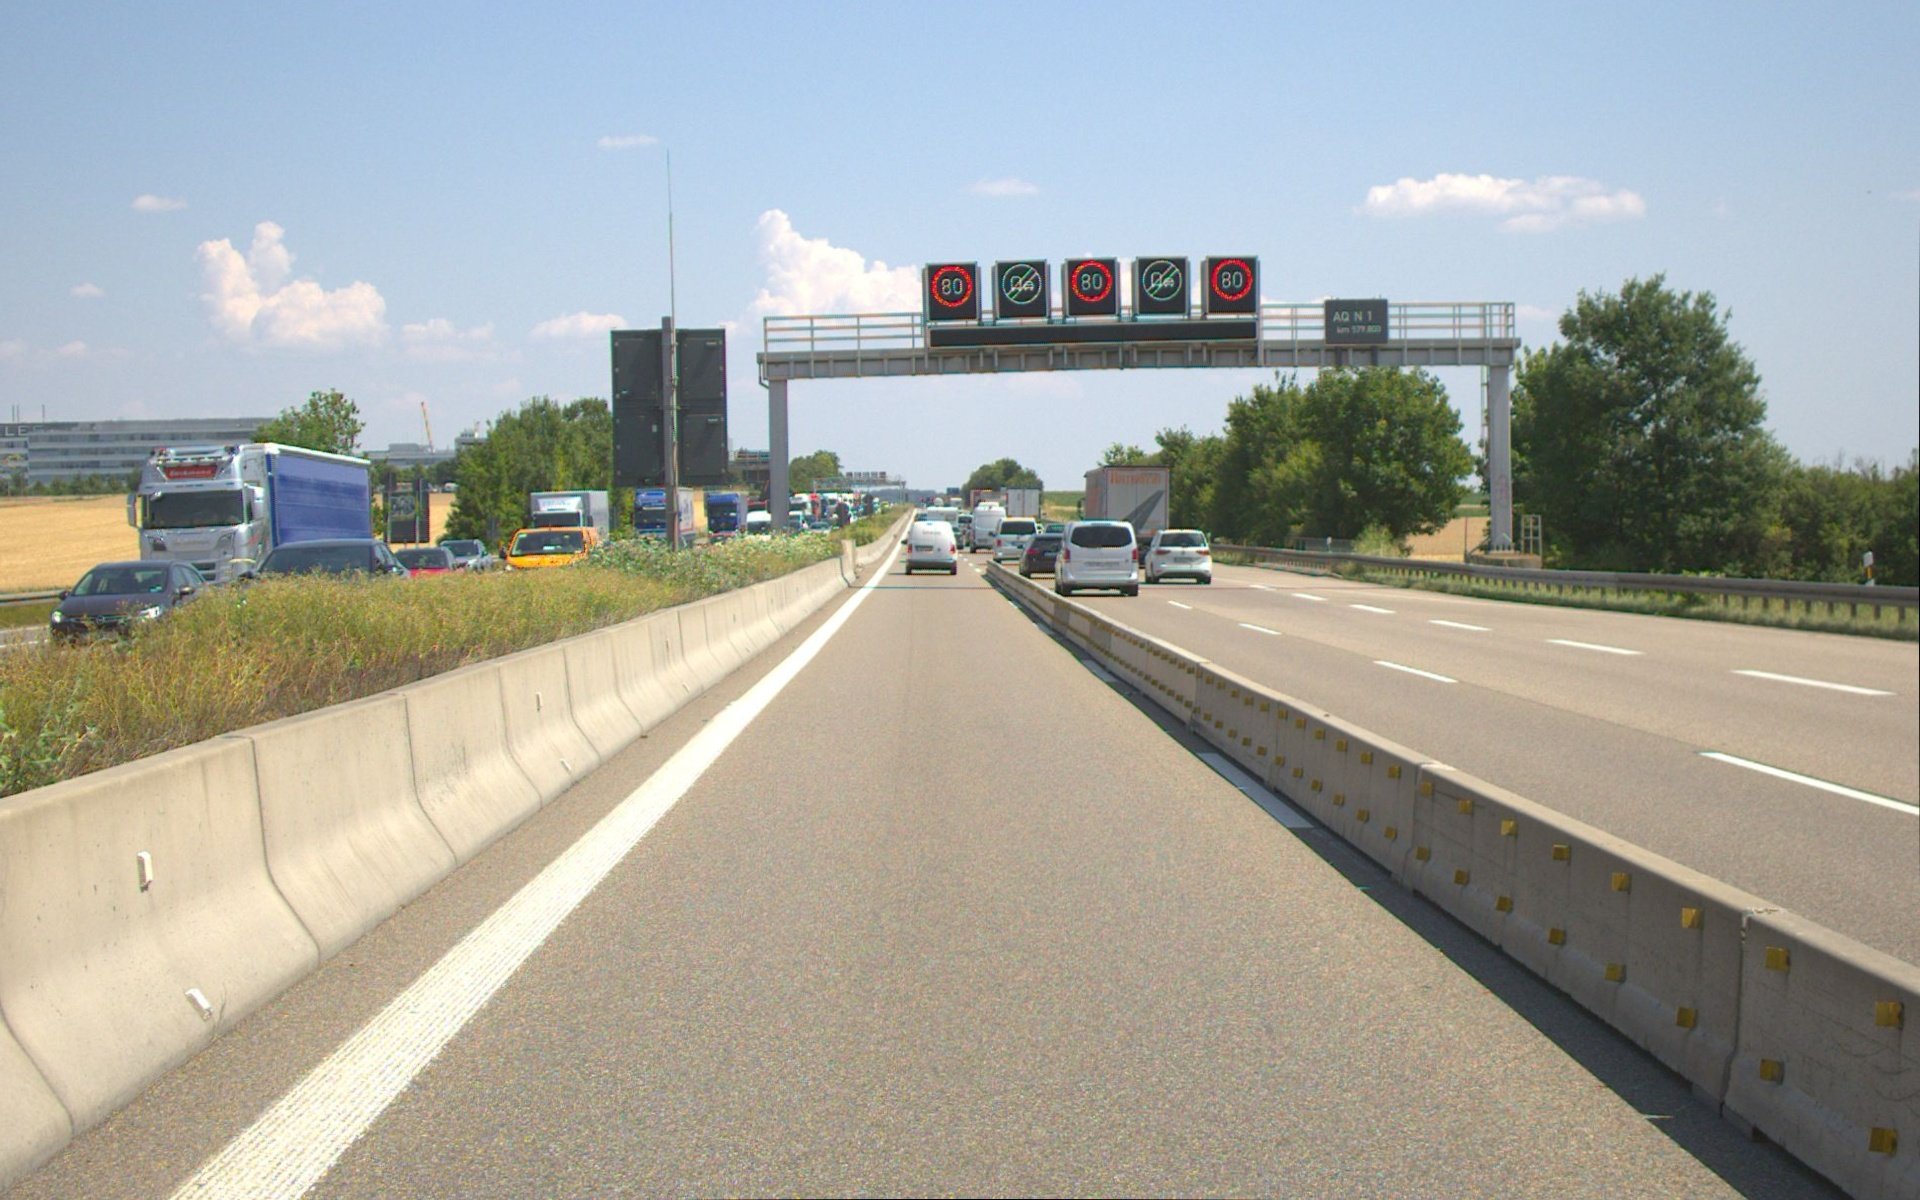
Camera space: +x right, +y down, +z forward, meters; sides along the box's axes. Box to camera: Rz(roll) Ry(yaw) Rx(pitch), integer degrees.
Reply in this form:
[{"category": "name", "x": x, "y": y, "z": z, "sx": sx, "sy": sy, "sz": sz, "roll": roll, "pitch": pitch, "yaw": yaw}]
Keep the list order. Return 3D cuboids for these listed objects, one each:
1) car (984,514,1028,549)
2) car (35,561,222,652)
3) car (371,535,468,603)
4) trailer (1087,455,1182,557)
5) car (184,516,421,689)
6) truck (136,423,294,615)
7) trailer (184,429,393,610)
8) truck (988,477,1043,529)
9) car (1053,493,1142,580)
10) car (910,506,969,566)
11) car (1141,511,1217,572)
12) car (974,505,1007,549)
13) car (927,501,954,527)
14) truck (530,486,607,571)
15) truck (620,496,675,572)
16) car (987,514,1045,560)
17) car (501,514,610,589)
[{"category": "car", "x": 1.927, "y": -2.902, "z": 145.913, "sx": 1.773, "sy": 1.442, "sz": 4.000, "roll": 0, "pitch": 1, "yaw": -1}, {"category": "car", "x": -12.259, "y": 0.080, "z": 50.924, "sx": 1.747, "sy": 1.262, "sz": 4.434, "roll": 1, "pitch": 0, "yaw": -1}, {"category": "car", "x": -12.586, "y": -0.738, "z": 80.228, "sx": 1.588, "sy": 1.503, "sz": 4.229, "roll": -1, "pitch": 1, "yaw": 0}, {"category": "trailer", "x": 6.984, "y": -3.723, "z": 138.859, "sx": 3.277, "sy": 3.953, "sz": 9.113, "roll": 0, "pitch": 0, "yaw": -1}, {"category": "car", "x": -8.073, "y": -0.029, "z": 42.633, "sx": 1.993, "sy": 2.007, "sz": 4.685, "roll": 0, "pitch": 1, "yaw": 0}, {"category": "truck", "x": -16.455, "y": -1.794, "z": 76.204, "sx": 2.411, "sy": 4.072, "sz": 4.660, "roll": -1, "pitch": 1, "yaw": 0}, {"category": "trailer", "x": -16.454, "y": -1.995, "z": 85.283, "sx": 2.386, "sy": 4.072, "sz": 14.098, "roll": -1, "pitch": 1, "yaw": 0}, {"category": "truck", "x": 4.219, "y": -7.439, "z": 263.961, "sx": 3.815, "sy": 3.891, "sz": 9.581, "roll": -1, "pitch": 1, "yaw": -1}, {"category": "car", "x": 3.395, "y": -1.564, "z": 85.574, "sx": 1.993, "sy": 2.112, "sz": 4.000, "roll": 0, "pitch": 0, "yaw": -1}, {"category": "car", "x": -0.718, "y": -2.189, "z": 117.911, "sx": 1.993, "sy": 2.007, "sz": 4.000, "roll": 0, "pitch": 0, "yaw": -1}, {"category": "car", "x": 6.558, "y": -1.745, "z": 103.348, "sx": 1.993, "sy": 1.788, "sz": 4.000, "roll": 0, "pitch": 0, "yaw": -1}, {"category": "car", "x": 1.666, "y": -3.999, "z": 189.936, "sx": 1.773, "sy": 2.384, "sz": 4.000, "roll": 0, "pitch": 0, "yaw": -1}, {"category": "car", "x": -1.449, "y": -6.343, "z": 254.126, "sx": 1.993, "sy": 1.829, "sz": 4.000, "roll": 0, "pitch": 1, "yaw": -1}, {"category": "truck", "x": -16.968, "y": -3.112, "z": 149.284, "sx": 2.698, "sy": 3.575, "sz": 4.000, "roll": -2, "pitch": 1, "yaw": 1}, {"category": "truck", "x": -18.259, "y": -3.852, "z": 200.890, "sx": 2.592, "sy": 4.224, "sz": 4.855, "roll": -3, "pitch": 1, "yaw": -1}, {"category": "car", "x": 1.808, "y": -2.036, "z": 111.661, "sx": 1.773, "sy": 1.442, "sz": 4.000, "roll": 0, "pitch": 1, "yaw": -1}, {"category": "car", "x": -8.841, "y": -1.037, "z": 75.489, "sx": 1.894, "sy": 1.573, "sz": 4.937, "roll": 1, "pitch": 0, "yaw": -1}]
